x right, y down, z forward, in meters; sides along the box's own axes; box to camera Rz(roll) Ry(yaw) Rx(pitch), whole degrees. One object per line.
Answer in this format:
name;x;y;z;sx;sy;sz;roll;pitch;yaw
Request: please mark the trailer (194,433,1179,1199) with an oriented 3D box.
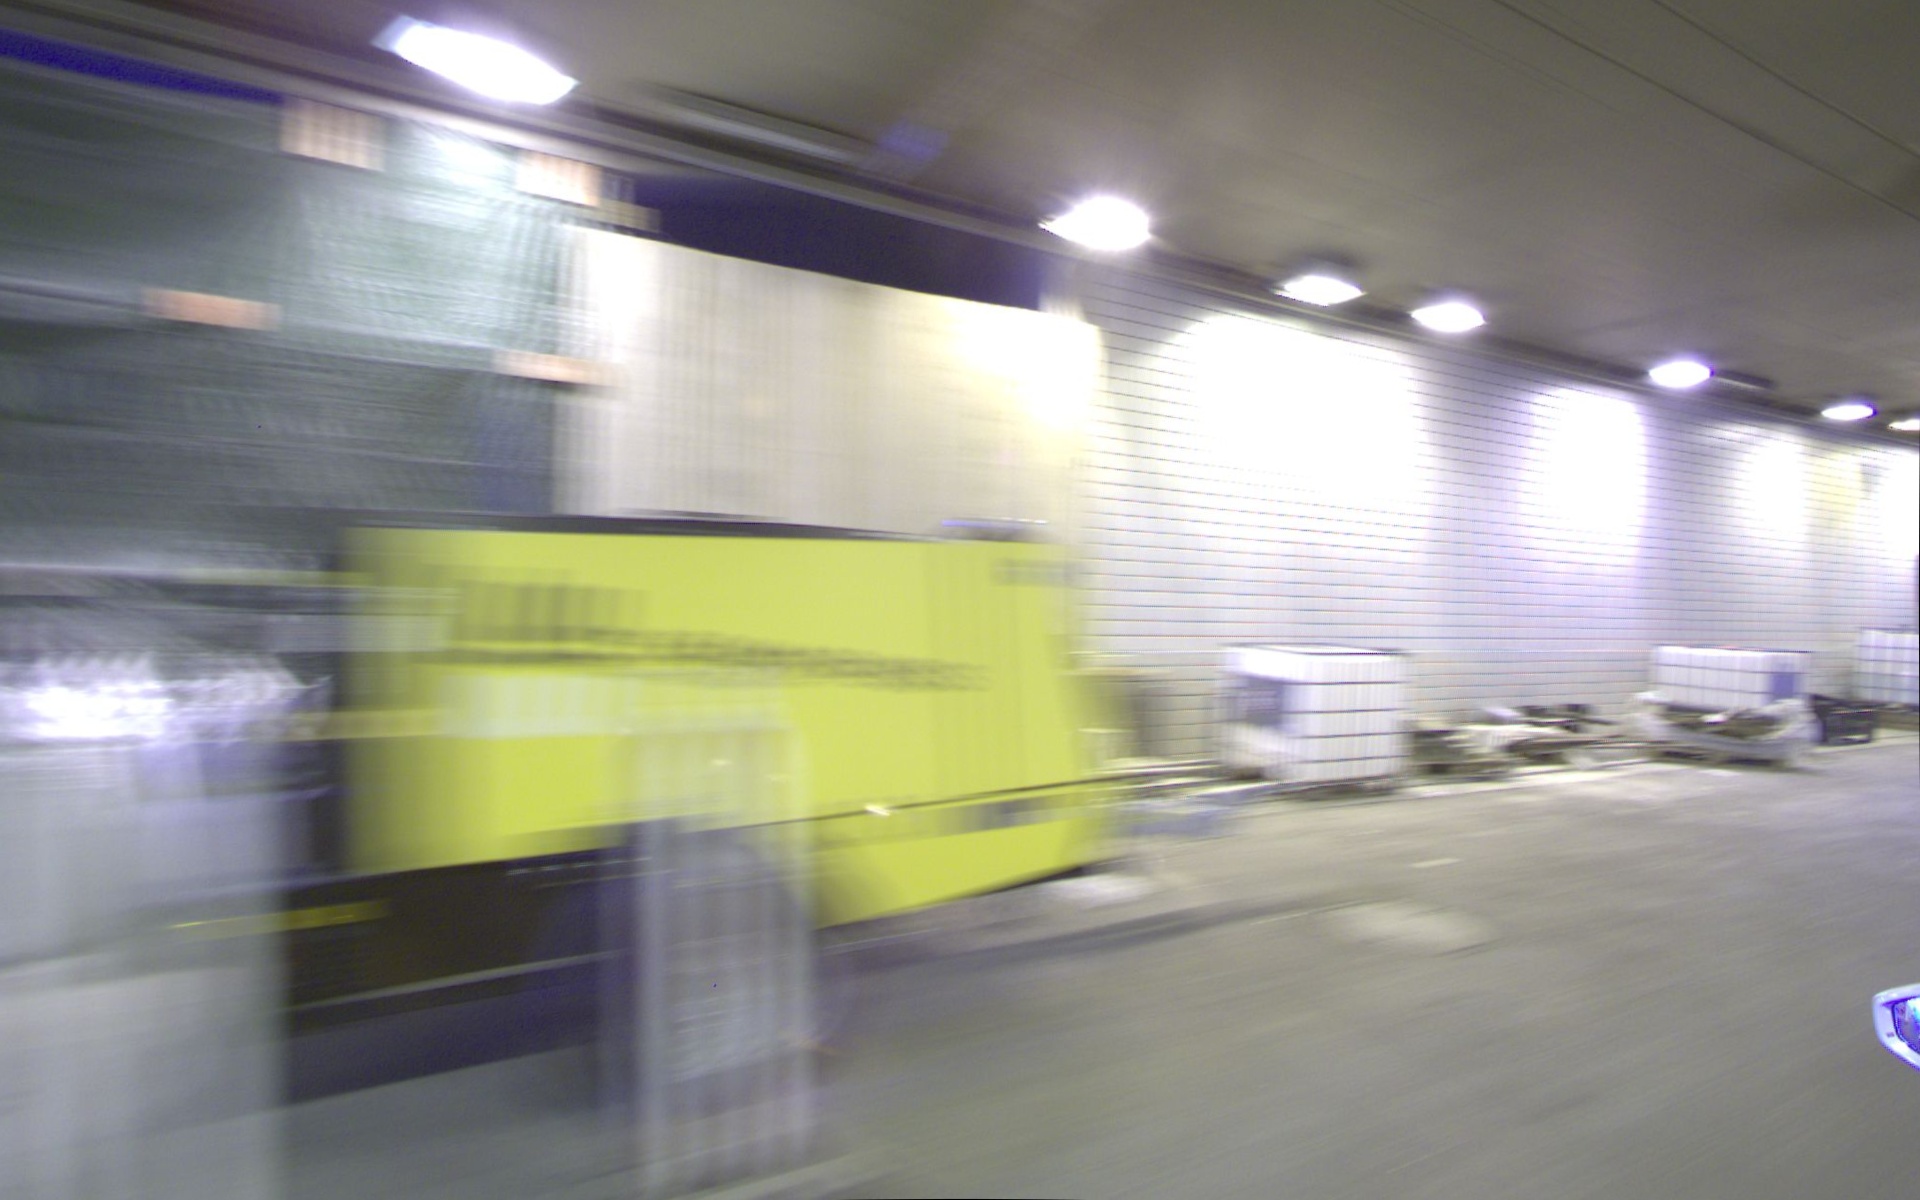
trailer;-0.877;0.555;3.854;3.088;1.815;1.630;2;0;-32
